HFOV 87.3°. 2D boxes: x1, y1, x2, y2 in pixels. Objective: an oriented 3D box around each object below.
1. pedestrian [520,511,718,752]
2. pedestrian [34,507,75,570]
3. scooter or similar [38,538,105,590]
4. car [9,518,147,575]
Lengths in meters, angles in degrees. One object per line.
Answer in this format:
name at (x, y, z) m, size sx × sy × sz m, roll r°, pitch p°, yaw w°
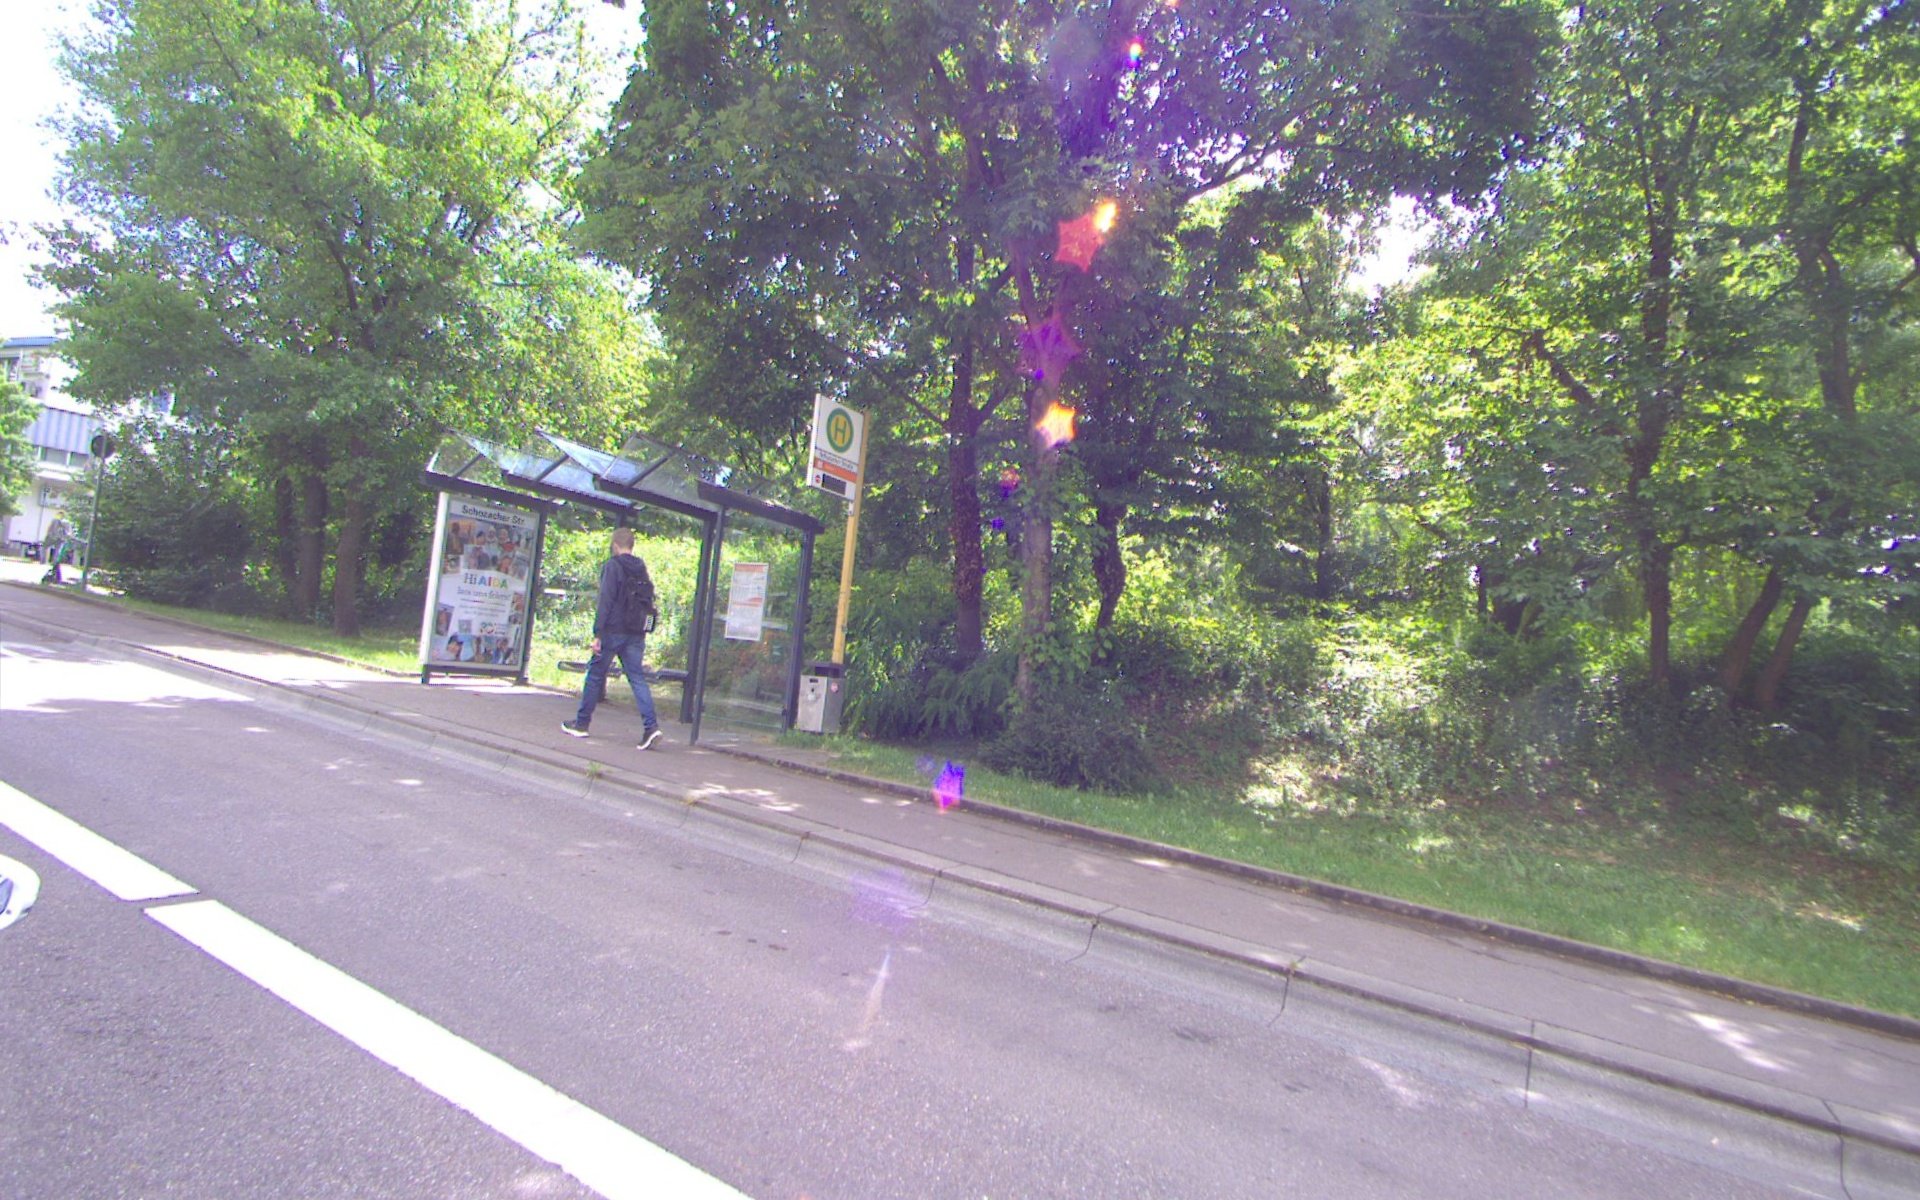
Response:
pedestrian at (-2.988, 0.275, 8.823) m, size 1.250 × 1.916 × 0.803 m, roll 6°, pitch -2°, yaw 33°
pedestrian at (-27.614, -1.878, 30.687) m, size 0.611 × 1.808 × 0.562 m, roll 12°, pitch -5°, yaw -40°
scooter or similar at (-21.210, -0.842, 24.047) m, size 0.325 × 1.112 × 1.153 m, roll 7°, pitch -2°, yaw 9°
car at (-34.421, -2.048, 39.363) m, size 1.679 × 1.619 × 3.592 m, roll 6°, pitch -2°, yaw 20°
